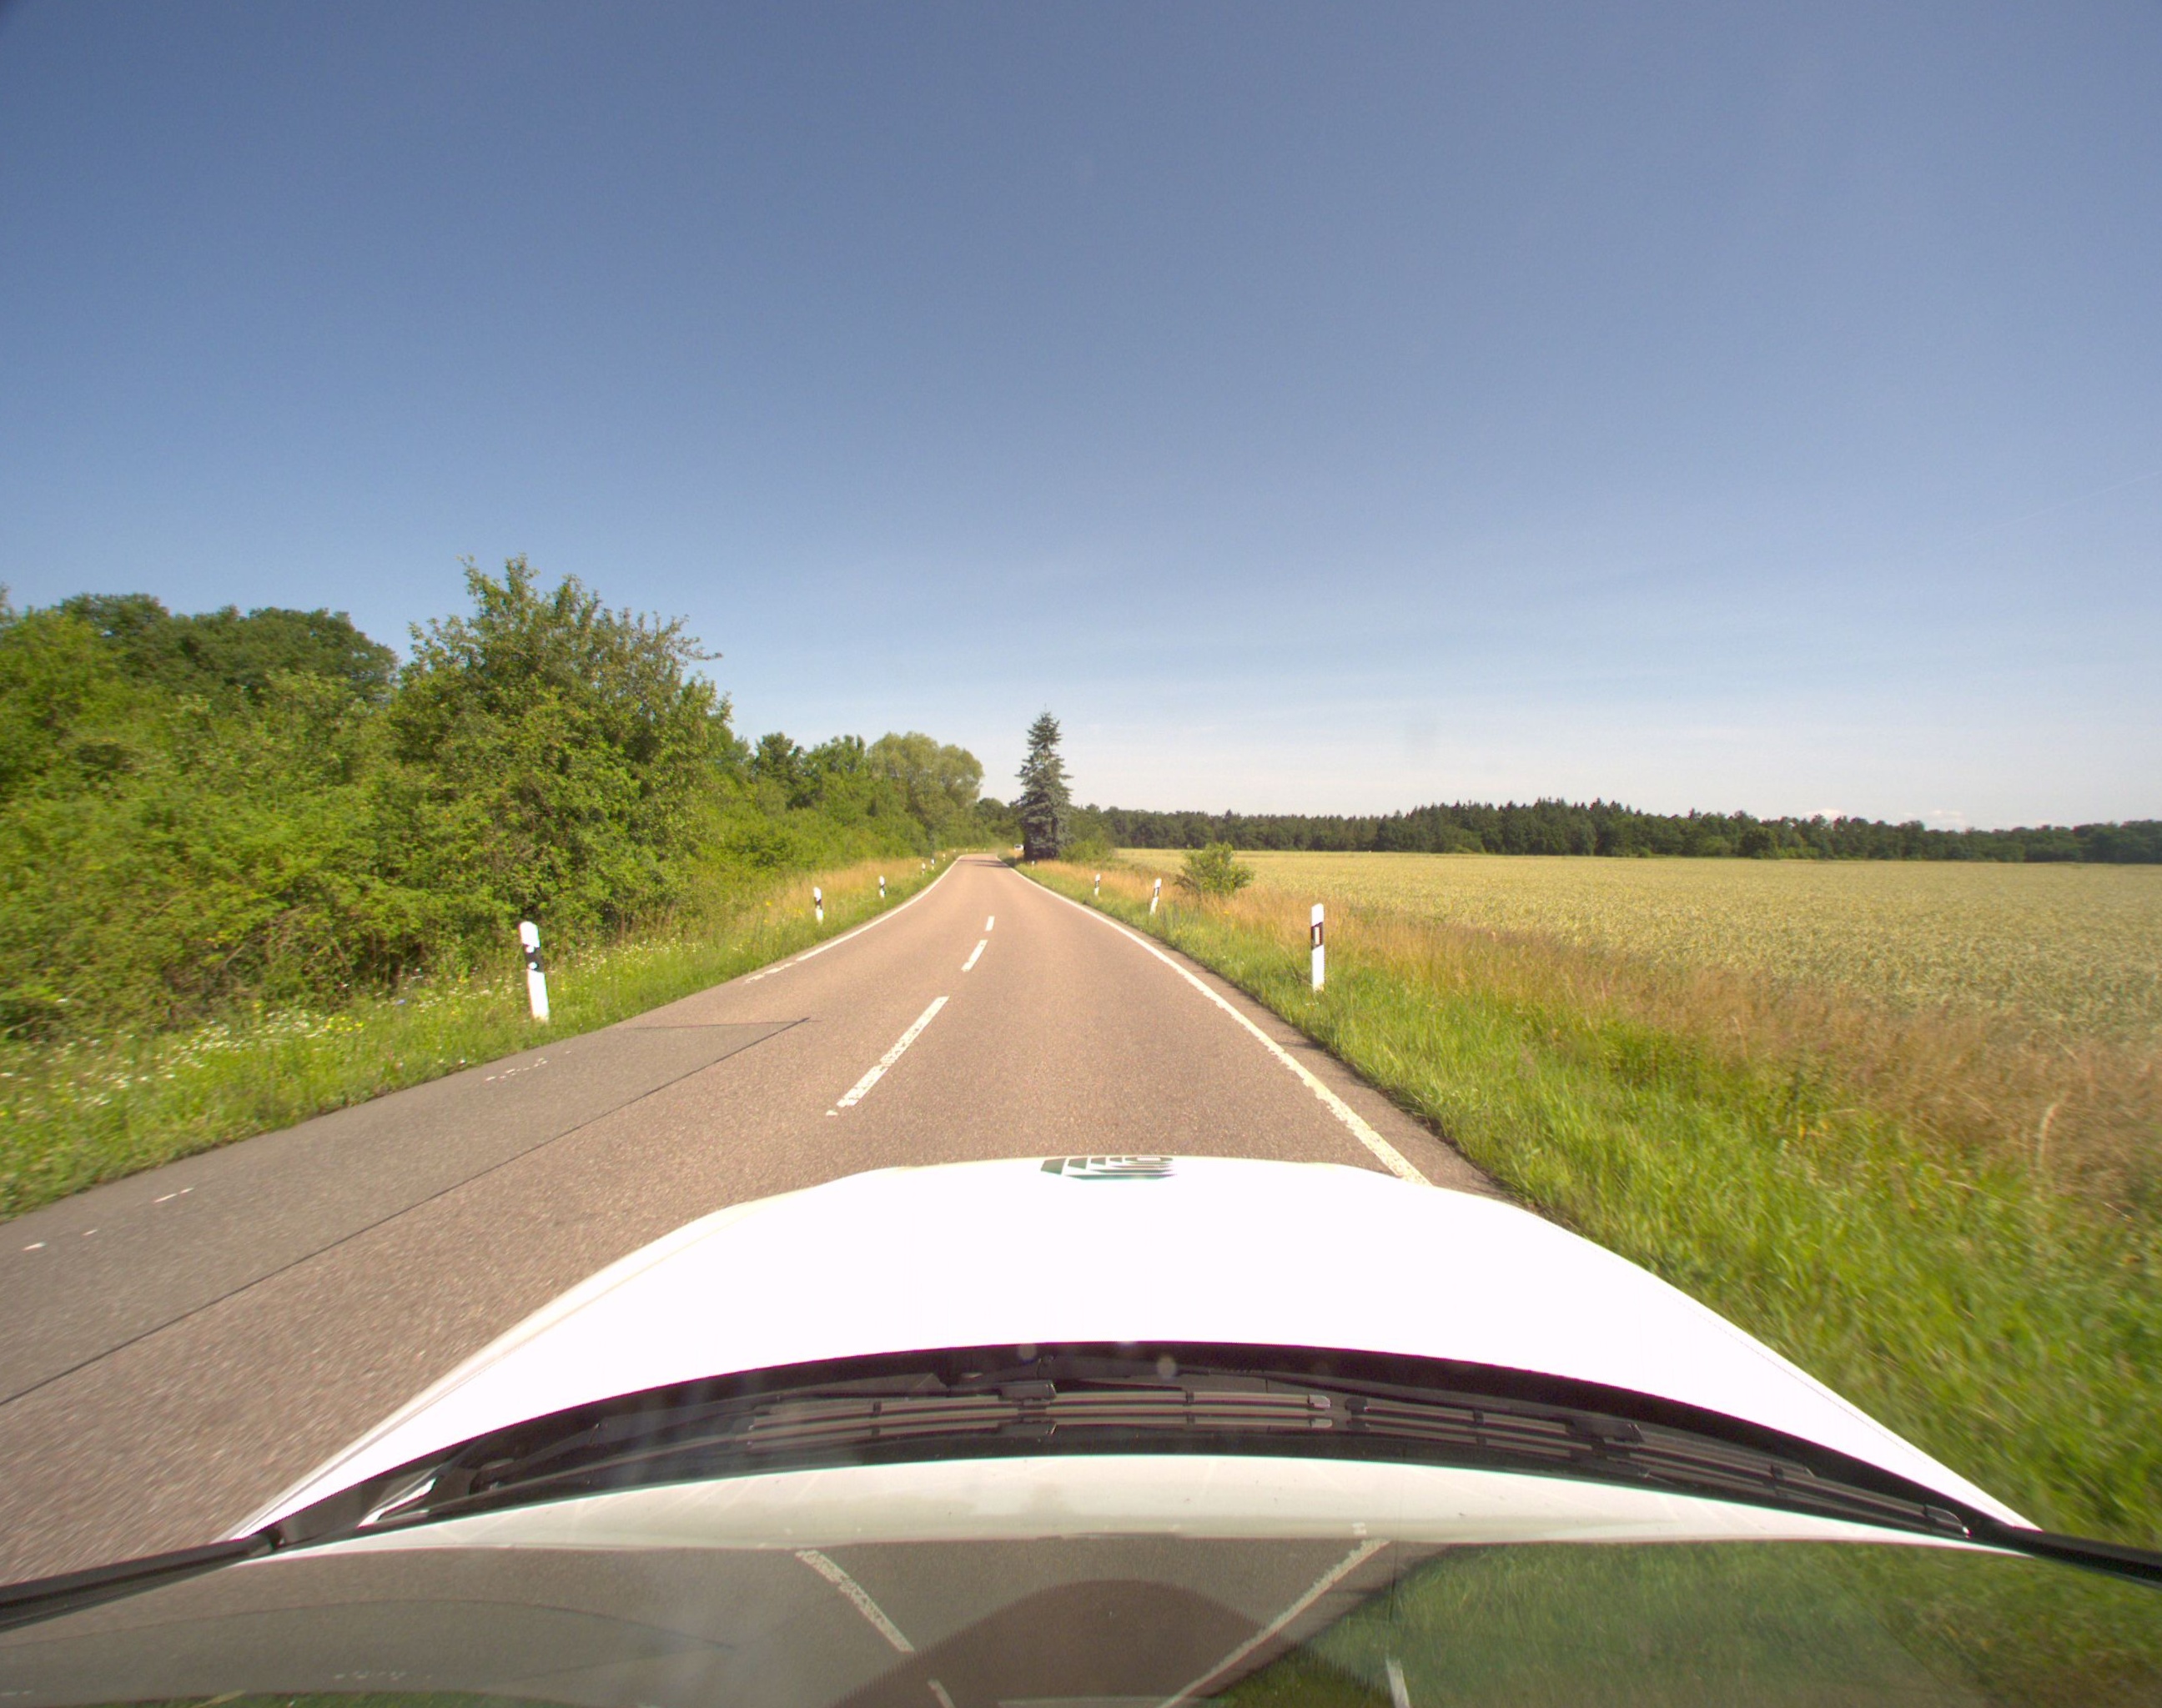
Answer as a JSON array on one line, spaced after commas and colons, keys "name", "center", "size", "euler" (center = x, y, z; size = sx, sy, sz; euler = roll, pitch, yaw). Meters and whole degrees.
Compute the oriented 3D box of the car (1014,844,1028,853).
[{"name": "car", "center": [-13.144, -1.231, 178.496], "size": [1.950, 1.802, 4.173], "euler": [3, 2, 10]}]
